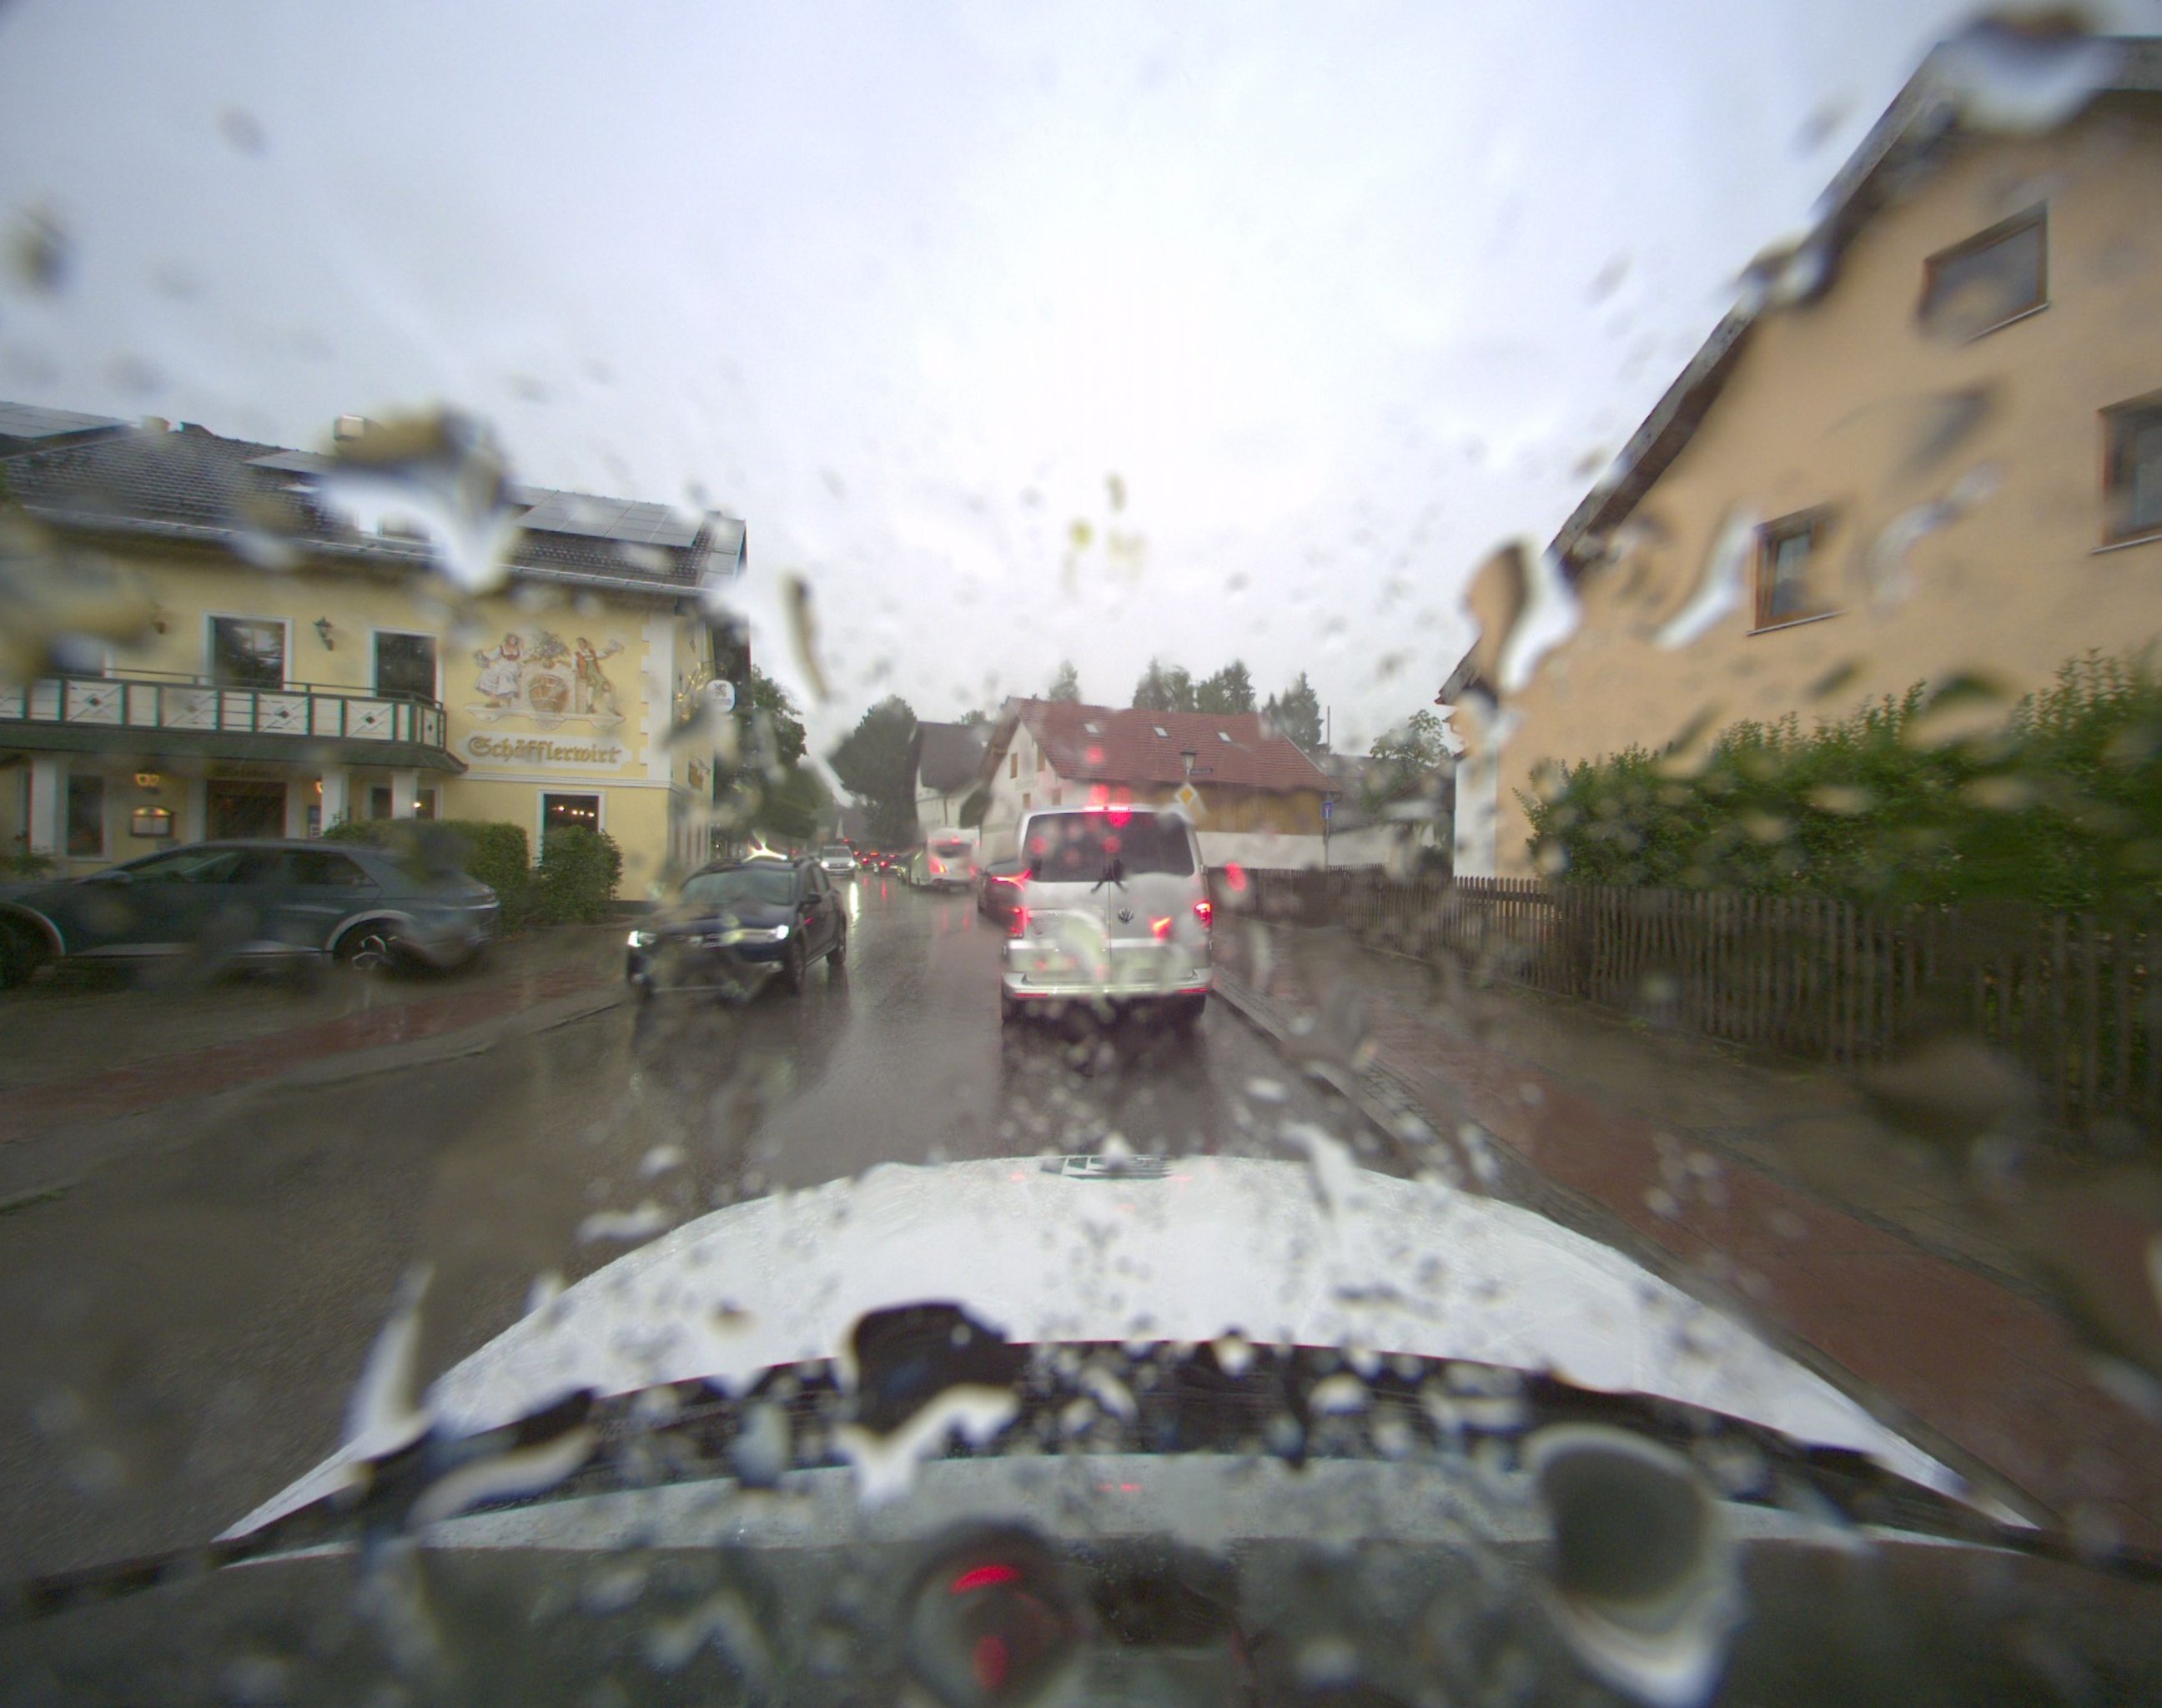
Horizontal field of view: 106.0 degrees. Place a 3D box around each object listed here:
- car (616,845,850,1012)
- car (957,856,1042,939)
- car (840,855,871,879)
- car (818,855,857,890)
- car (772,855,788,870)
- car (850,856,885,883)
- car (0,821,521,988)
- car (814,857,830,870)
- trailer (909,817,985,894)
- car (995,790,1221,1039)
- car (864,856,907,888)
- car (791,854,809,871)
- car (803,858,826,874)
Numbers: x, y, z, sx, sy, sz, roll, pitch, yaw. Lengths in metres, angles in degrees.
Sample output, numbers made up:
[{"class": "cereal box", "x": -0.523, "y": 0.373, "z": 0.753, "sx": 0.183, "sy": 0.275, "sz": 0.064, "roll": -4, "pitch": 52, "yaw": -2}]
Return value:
[{"class": "car", "x": -3.931, "y": 0.743, "z": 9.814, "sx": 1.585, "sy": 1.610, "sz": 3.531, "roll": -1, "pitch": 0, "yaw": -6}, {"class": "car", "x": -1.892, "y": 0.911, "z": 19.196, "sx": 1.706, "sy": 1.584, "sz": 4.677, "roll": -2, "pitch": 1, "yaw": -5}, {"class": "car", "x": -19.869, "y": 1.116, "z": 71.473, "sx": 2.177, "sy": 1.899, "sz": 4.980, "roll": 1, "pitch": 0, "yaw": -21}, {"class": "car", "x": -14.776, "y": 1.112, "z": 49.254, "sx": 1.858, "sy": 1.971, "sz": 4.667, "roll": -1, "pitch": -1, "yaw": -22}, {"class": "car", "x": -40.422, "y": 1.120, "z": 109.501, "sx": 1.868, "sy": 1.758, "sz": 4.454, "roll": -3, "pitch": 1, "yaw": -19}, {"class": "car", "x": -16.689, "y": 1.164, "z": 63.514, "sx": 2.177, "sy": 1.899, "sz": 4.980, "roll": 1, "pitch": 0, "yaw": -21}, {"class": "car", "x": -9.389, "y": 0.573, "z": 9.357, "sx": 4.494, "sy": 1.567, "sz": 1.826, "roll": 4, "pitch": 1, "yaw": -23}, {"class": "car", "x": -41.640, "y": 1.539, "z": 131.086, "sx": 2.177, "sy": 1.899, "sz": 4.980, "roll": 1, "pitch": 0, "yaw": -21}, {"class": "trailer", "x": -5.687, "y": 0.074, "z": 33.885, "sx": 2.277, "sy": 2.904, "sz": 6.095, "roll": 0, "pitch": 0, "yaw": -18}, {"class": "car", "x": 0.333, "y": 0.494, "z": 9.032, "sx": 1.769, "sy": 1.963, "sz": 5.077, "roll": -1, "pitch": 0, "yaw": 3}, {"class": "car", "x": -13.030, "y": 1.148, "z": 53.980, "sx": 2.177, "sy": 1.899, "sz": 4.980, "roll": 1, "pitch": 0, "yaw": -21}, {"class": "car", "x": -31.785, "y": 0.918, "z": 92.182, "sx": 1.868, "sy": 1.758, "sz": 4.454, "roll": -3, "pitch": 1, "yaw": -19}, {"class": "car", "x": -24.036, "y": 1.067, "z": 73.353, "sx": 1.868, "sy": 1.359, "sz": 4.454, "roll": -1, "pitch": 1, "yaw": -19}]
